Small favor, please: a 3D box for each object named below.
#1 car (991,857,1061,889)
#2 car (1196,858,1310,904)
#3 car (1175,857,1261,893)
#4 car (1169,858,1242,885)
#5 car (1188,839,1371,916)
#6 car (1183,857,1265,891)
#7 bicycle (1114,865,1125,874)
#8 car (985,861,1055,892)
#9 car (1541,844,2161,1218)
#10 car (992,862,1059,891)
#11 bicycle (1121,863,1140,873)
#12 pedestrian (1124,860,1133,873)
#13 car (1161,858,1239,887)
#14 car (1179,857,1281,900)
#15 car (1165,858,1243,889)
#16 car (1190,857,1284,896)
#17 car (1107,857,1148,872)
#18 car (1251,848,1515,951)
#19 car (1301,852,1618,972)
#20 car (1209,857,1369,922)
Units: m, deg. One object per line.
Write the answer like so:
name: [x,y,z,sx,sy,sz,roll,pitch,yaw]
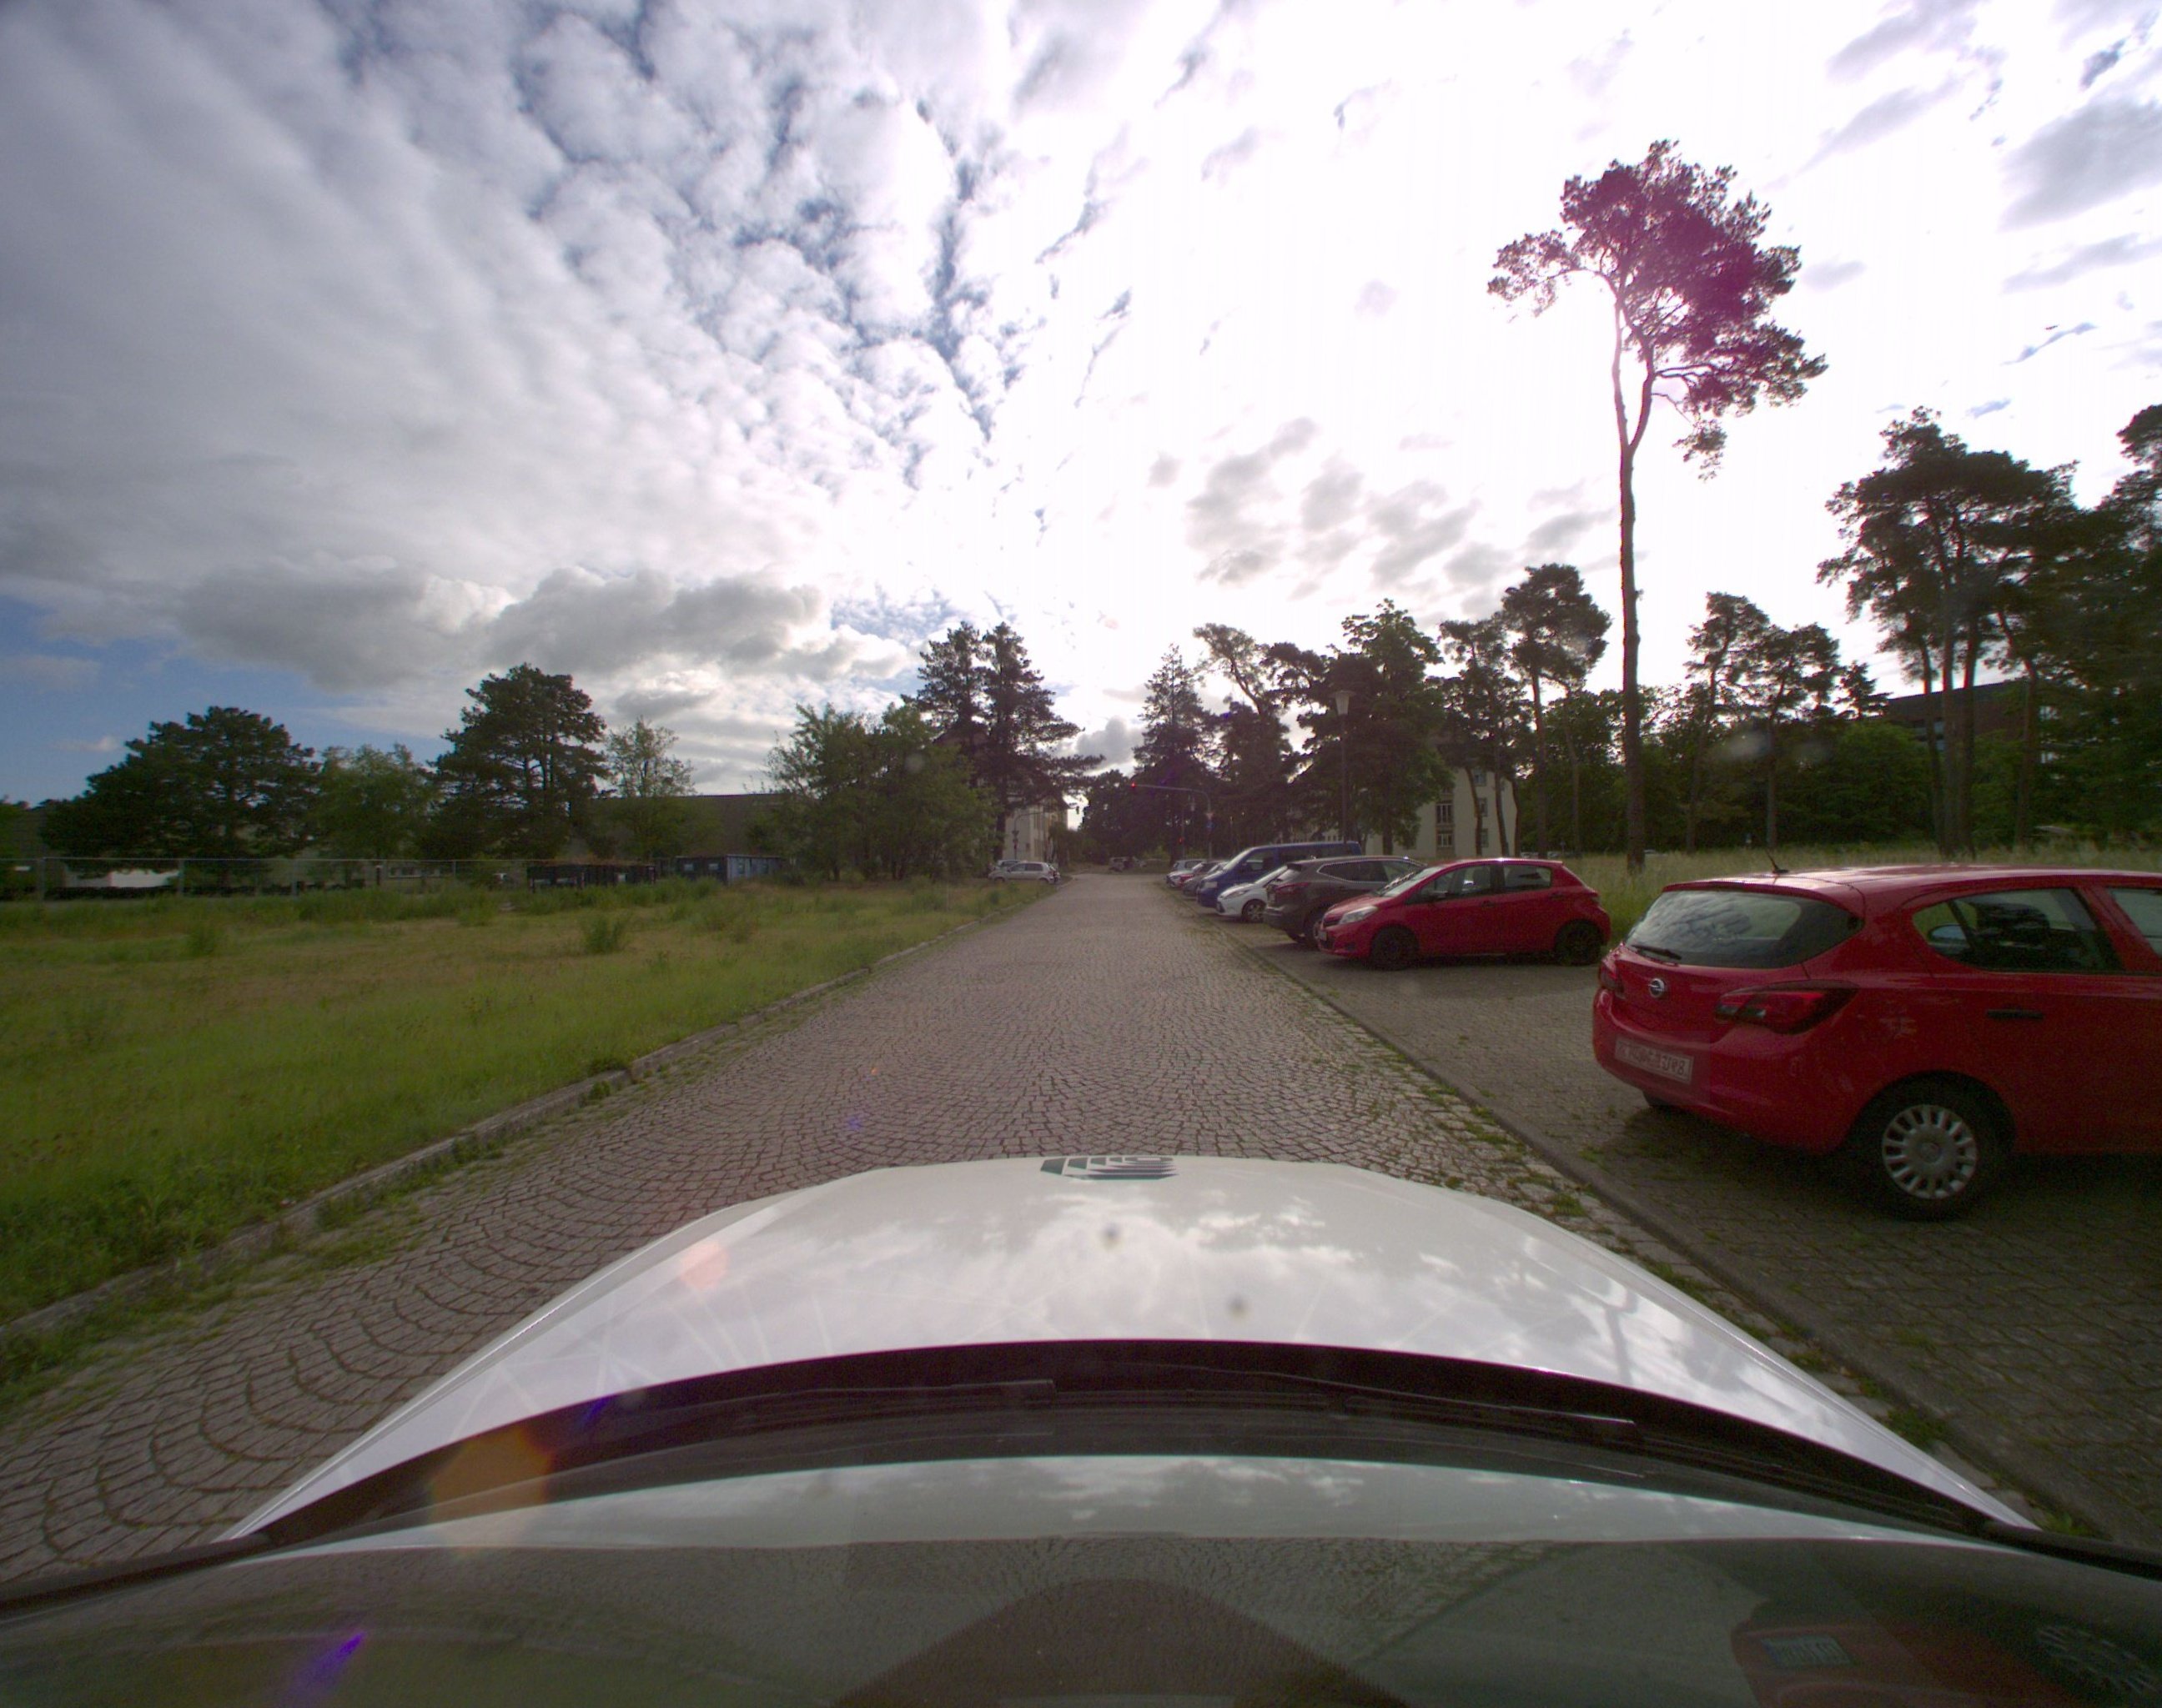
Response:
car: [-3.491,1.198,52.004,4.246,1.840,1.744,-2,-1,2]
car: [6.013,0.934,28.774,3.659,1.449,1.524,-2,-1,0]
car: [6.215,0.943,37.251,3.659,1.449,1.524,-2,-1,0]
car: [7.195,1.012,47.271,3.957,1.421,1.618,-2,-1,-2]
car: [5.620,0.664,23.507,4.738,1.954,1.931,-2,-1,0]
car: [6.911,0.956,39.513,3.659,1.449,1.524,-2,-1,0]
bicycle: [4.364,1.755,92.287,0.623,0.945,1.649,0,-1,-25]
car: [-3.441,1.267,46.590,3.810,1.572,1.564,-2,-1,-1]
car: [4.859,0.735,4.297,3.811,1.460,1.780,-2,-1,2]
car: [-3.283,1.326,49.003,3.807,1.572,1.565,-2,-1,2]
bicycle: [5.857,1.684,96.307,2.131,1.215,0.621,0,-1,-2]
pedestrian: [5.672,1.484,96.660,1.031,1.614,0.757,0,-1,-2]
car: [6.501,1.019,44.643,3.957,1.421,1.618,-2,-1,-2]
car: [5.724,0.935,31.568,3.659,1.449,1.524,-2,-1,0]
car: [6.279,0.990,41.792,3.662,1.421,1.522,-2,-1,-2]
car: [6.564,0.931,34.529,3.659,1.449,1.524,-2,-1,0]
car: [6.477,1.434,114.222,5.440,2.014,2.263,0,-1,-7]
car: [5.253,0.769,14.537,4.015,1.552,1.751,-2,-1,0]
car: [5.328,0.801,11.862,3.777,1.460,1.752,-2,-1,2]
car: [5.258,0.899,20.920,3.660,1.449,1.614,-2,-1,0]
